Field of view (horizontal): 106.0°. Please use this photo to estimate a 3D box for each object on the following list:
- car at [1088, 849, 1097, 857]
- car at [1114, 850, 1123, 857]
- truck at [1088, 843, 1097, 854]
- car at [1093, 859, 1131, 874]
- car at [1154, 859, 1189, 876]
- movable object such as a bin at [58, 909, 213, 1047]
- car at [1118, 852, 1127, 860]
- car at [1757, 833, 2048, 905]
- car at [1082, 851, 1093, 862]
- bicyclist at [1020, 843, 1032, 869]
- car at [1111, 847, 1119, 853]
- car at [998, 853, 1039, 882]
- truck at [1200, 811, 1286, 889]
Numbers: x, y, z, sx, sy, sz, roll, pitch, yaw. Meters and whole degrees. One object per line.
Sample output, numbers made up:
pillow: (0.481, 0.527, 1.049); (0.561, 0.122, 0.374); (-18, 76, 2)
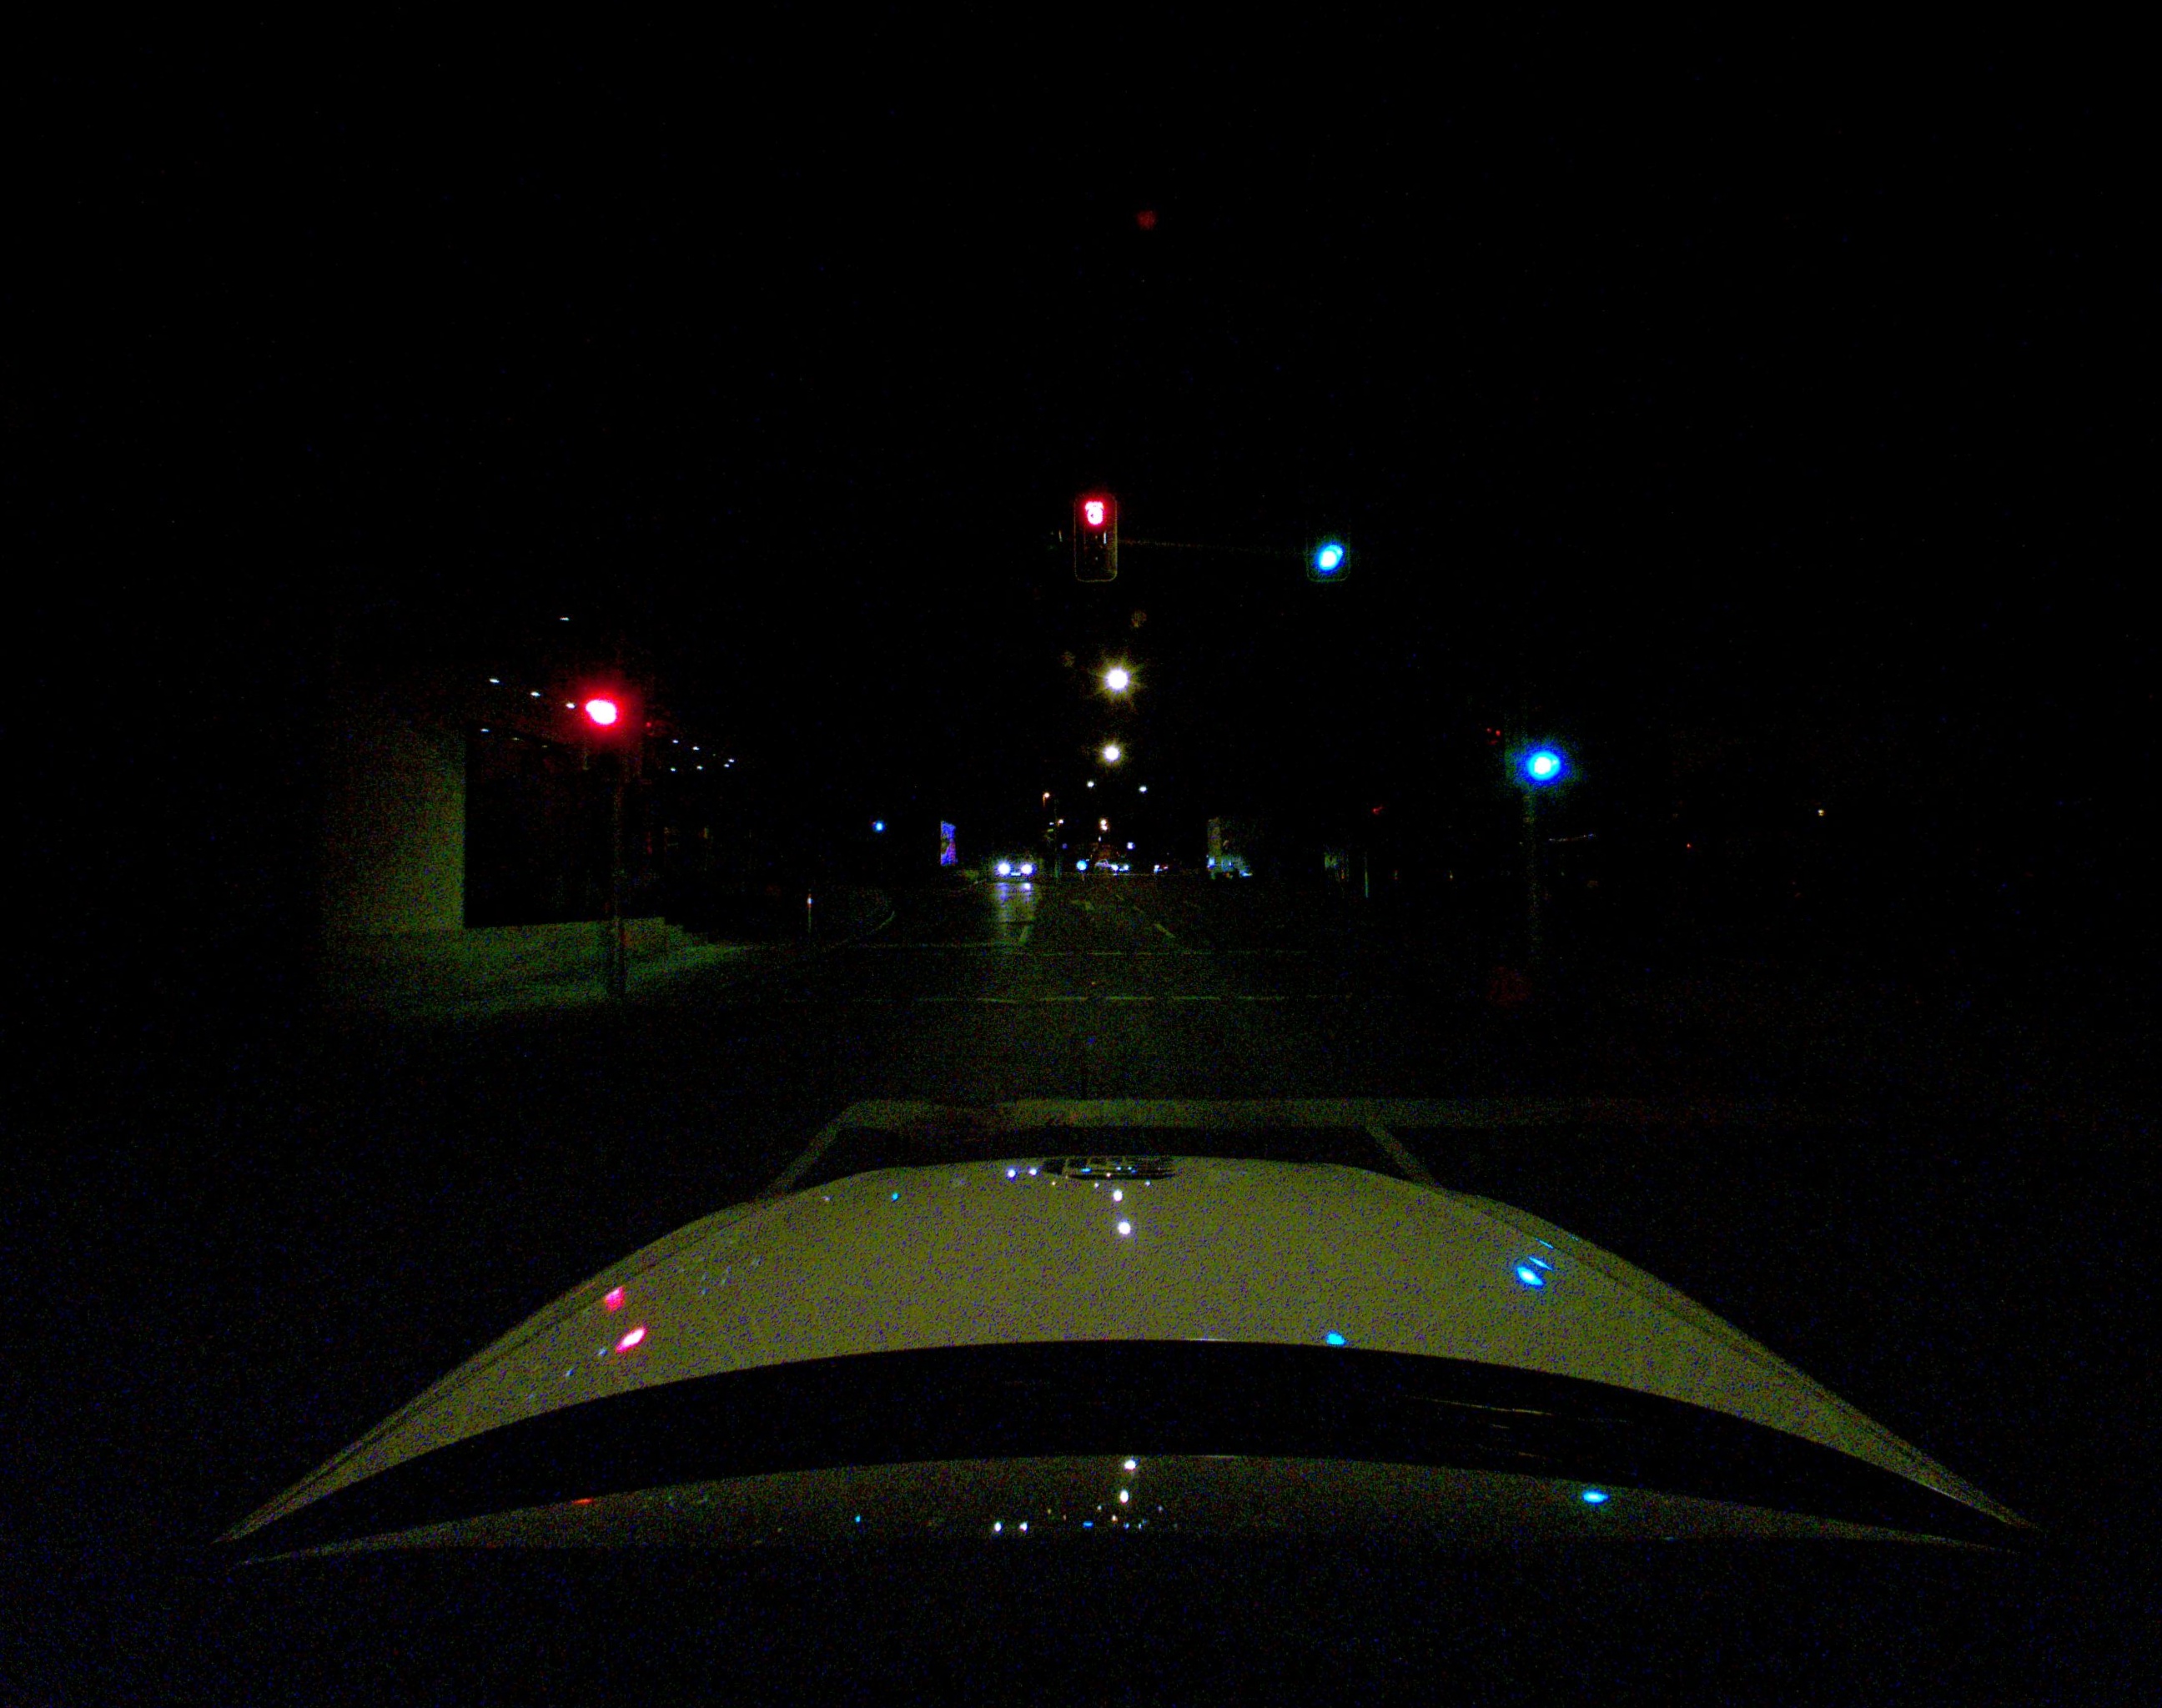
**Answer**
car: (2.314, -0.259, 161.931); (1.809, 1.491, 4.000); (0, 0, 0)
car: (7.358, -0.076, 160.516); (1.628, 1.451, 3.486); (0, 0, 2)
truck: (2.976, -1.461, 210.983); (2.080, 2.848, 5.831); (0, 0, 0)
car: (3.088, 1.230, 82.477); (1.927, 1.388, 4.543); (0, 0, -26)
car: (8.497, 1.264, 76.194); (1.567, 1.501, 3.416); (-1, 0, 43)
movable object such as a bin: (-7.944, 1.011, 6.861); (0.633, 1.049, 0.657); (-1, -1, 19)
car: (7.322, 0.315, 144.584); (1.628, 1.451, 3.486); (0, 0, 2)
car: (17.360, 0.321, 17.425); (4.107, 1.280, 1.770); (-3, -1, 8)
car: (1.082, 0.411, 135.814); (1.808, 1.684, 4.002); (0, 0, 2)
bicyclist: (-3.631, 0.135, 53.886); (0.688, 1.637, 0.896); (-1, -1, 1)
car: (8.036, -0.947, 192.741); (1.628, 1.451, 3.486); (0, 0, 2)
car: (-3.451, 0.695, 45.427); (1.850, 1.534, 4.029); (0, 0, 1)
truck: (6.923, -0.162, 35.660); (2.738, 3.110, 6.262); (0, 0, 2)
